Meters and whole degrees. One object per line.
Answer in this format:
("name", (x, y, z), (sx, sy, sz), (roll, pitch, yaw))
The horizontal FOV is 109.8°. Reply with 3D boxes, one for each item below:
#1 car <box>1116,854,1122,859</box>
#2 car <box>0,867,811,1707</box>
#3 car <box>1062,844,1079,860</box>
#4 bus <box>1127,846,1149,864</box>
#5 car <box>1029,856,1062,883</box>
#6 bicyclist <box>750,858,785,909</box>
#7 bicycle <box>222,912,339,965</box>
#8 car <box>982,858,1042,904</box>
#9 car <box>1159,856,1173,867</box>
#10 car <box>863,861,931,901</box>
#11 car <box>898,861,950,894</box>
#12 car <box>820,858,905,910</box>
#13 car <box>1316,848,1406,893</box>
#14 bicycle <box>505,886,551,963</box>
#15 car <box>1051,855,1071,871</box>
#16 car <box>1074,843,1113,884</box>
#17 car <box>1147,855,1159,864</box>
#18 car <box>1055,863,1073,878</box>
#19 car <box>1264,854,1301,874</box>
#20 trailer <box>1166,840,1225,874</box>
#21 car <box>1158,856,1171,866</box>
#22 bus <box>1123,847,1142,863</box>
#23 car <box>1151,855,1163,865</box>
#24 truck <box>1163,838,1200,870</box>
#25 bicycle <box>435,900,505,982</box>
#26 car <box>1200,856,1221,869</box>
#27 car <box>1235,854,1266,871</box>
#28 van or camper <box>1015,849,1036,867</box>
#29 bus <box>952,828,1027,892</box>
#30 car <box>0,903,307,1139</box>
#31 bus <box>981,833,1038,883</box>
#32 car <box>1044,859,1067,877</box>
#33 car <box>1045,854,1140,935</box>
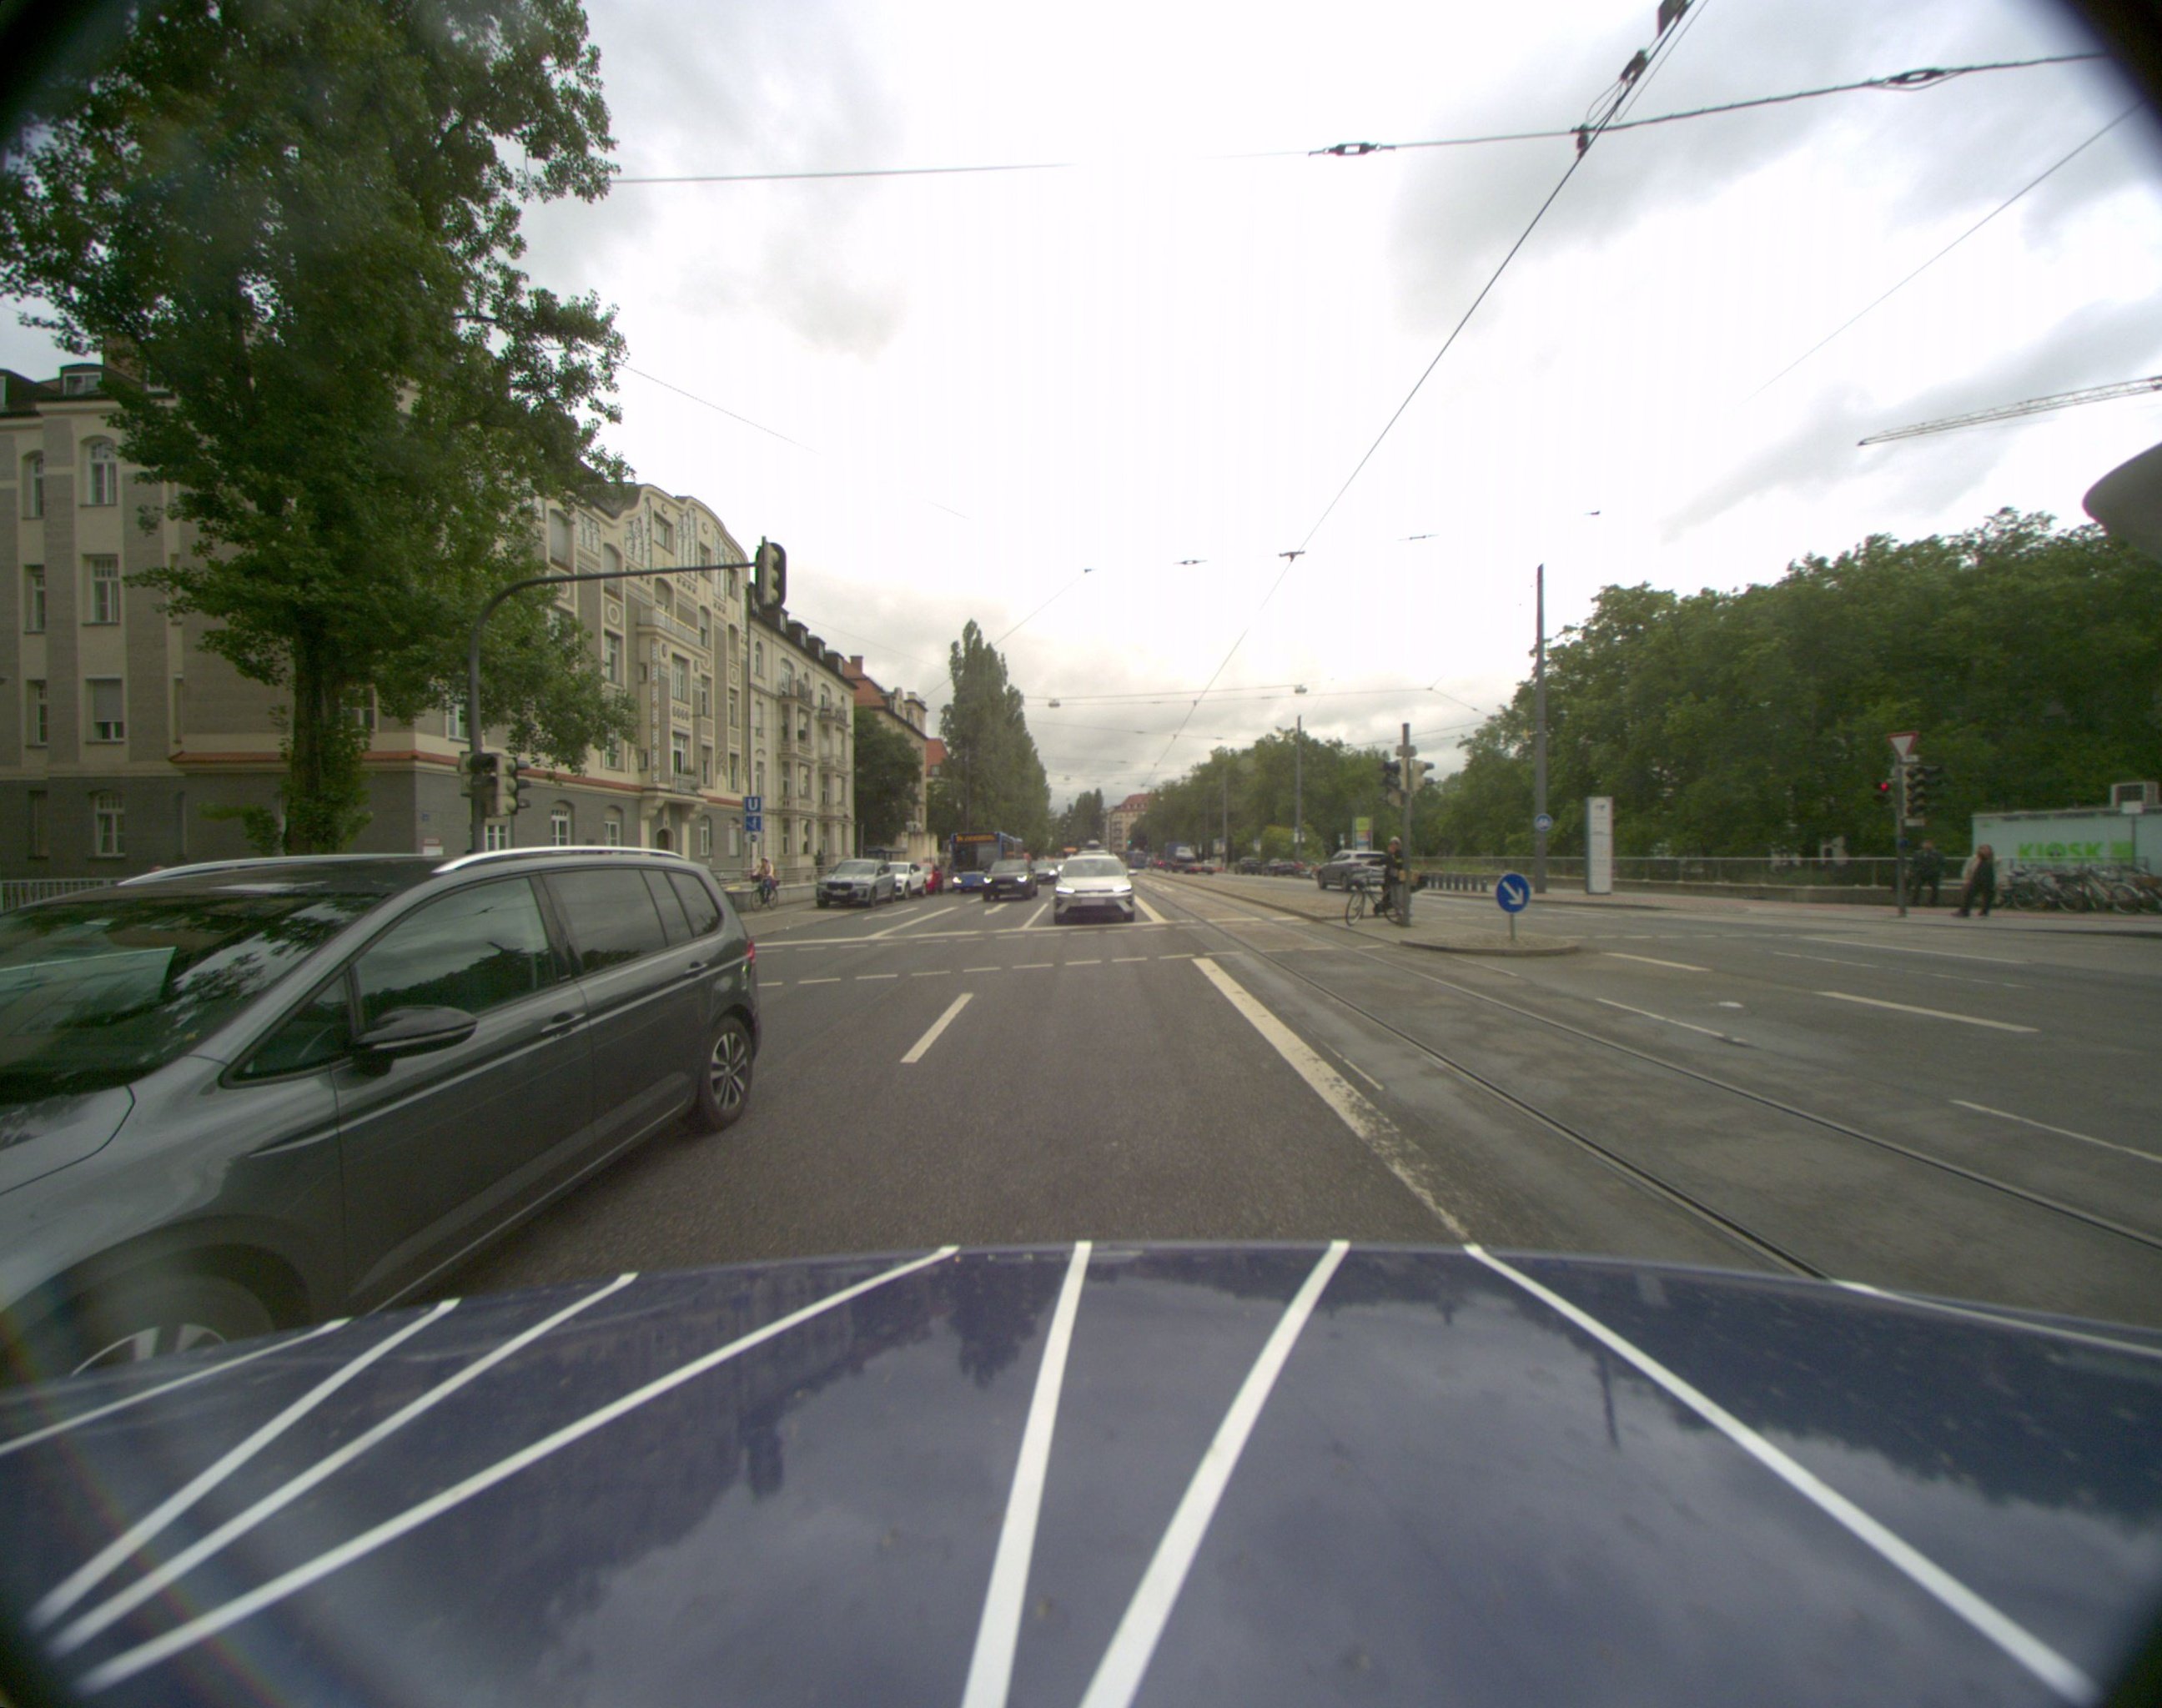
("car", (11.686, 0.691, 234.309), (1.628, 1.473, 3.602), (-1, 0, 1))
("car", (-2.859, 0.947, 2.934), (1.776, 1.637, 4.708), (-2, 0, 2))
("car", (-1.904, -0.320, 140.025), (2.806, 2.836, 5.114), (-1, 1, 1))
("bus", (10.128, 0.158, 135.887), (2.632, 2.949, 13.414), (1, 0, -1))
("car", (-2.113, 0.909, 46.279), (1.704, 1.425, 4.245), (-3, 0, 1))
("bicyclist", (-10.014, 0.918, 24.294), (0.681, 1.594, 0.939), (0, 1, 1))
("bicycle", (-14.143, 1.490, 13.446), (1.576, 0.830, 0.392), (-2, 1, -2))
("car", (-2.552, 0.980, 28.953), (1.780, 1.495, 3.970), (-3, 0, 1))
("car", (13.078, 1.174, 116.779), (1.809, 1.633, 4.000), (-1, 0, 1))
("car", (-7.659, 1.082, 32.038), (1.730, 1.567, 3.967), (0, 0, 2))
("car", (-7.557, 1.108, 36.917), (1.730, 1.500, 3.742), (0, 0, 0))
("car", (-7.733, 1.002, 27.329), (1.737, 1.651, 4.501), (-1, 0, 0))
("car", (11.278, 0.614, 31.001), (1.868, 1.629, 4.677), (1, 0, -1))
("bicycle", (-8.918, 1.098, 12.227), (0.360, 1.096, 1.740), (-1, 1, -43))
("car", (-1.741, 0.833, 67.528), (1.704, 1.379, 3.632), (0, -1, 0))
("car", (0.683, 0.492, 42.339), (1.998, 2.100, 4.000), (-1, 0, 1))
("car", (13.642, 1.052, 144.191), (1.809, 1.674, 4.000), (-1, 0, 1))
("car", (-1.655, 1.618, 75.539), (1.704, 1.513, 3.632), (0, 0, 0))
("car", (15.869, 0.768, 60.125), (1.864, 1.517, 4.233), (0, 0, 1))
("trailer", (10.119, 0.223, 69.055), (2.617, 2.666, 15.637), (1, 0, -1))
("car", (13.776, 1.111, 125.794), (1.809, 1.633, 4.000), (-1, 0, 1))
("bus", (9.990, 0.116, 148.998), (2.632, 2.949, 12.844), (1, 0, -1))
("car", (13.432, 1.074, 134.620), (1.809, 1.633, 4.000), (-1, 0, 1))
("truck", (10.002, -0.011, 76.285), (2.572, 3.069, 7.689), (1, 0, -1))
("bicycle", (-9.309, 1.286, 11.552), (1.740, 1.096, 0.360), (0, 1, 36))
("car", (15.500, 1.035, 91.331), (1.893, 1.521, 4.000), (0, 0, 1))
("car", (15.640, 0.772, 70.252), (1.998, 1.561, 4.101), (-1, 0, 1))
("van or camper", (-6.704, 0.449, 91.819), (2.124, 2.086, 5.513), (-1, 0, 0))
("bus", (-4.724, 0.279, 41.124), (2.637, 2.956, 9.466), (-2, 0, 1))
("car", (-8.225, 1.198, 4.825), (1.999, 1.432, 4.528), (-1, 0, -1))
("bus", (-4.558, 0.237, 50.144), (2.637, 2.956, 8.534), (-2, 0, 1))
("car", (-2.075, 1.130, 62.214), (1.704, 1.360, 3.632), (0, 0, 1))
("car", (0.319, 0.818, 17.599), (1.812, 1.496, 4.953), (-3, 0, 2))
